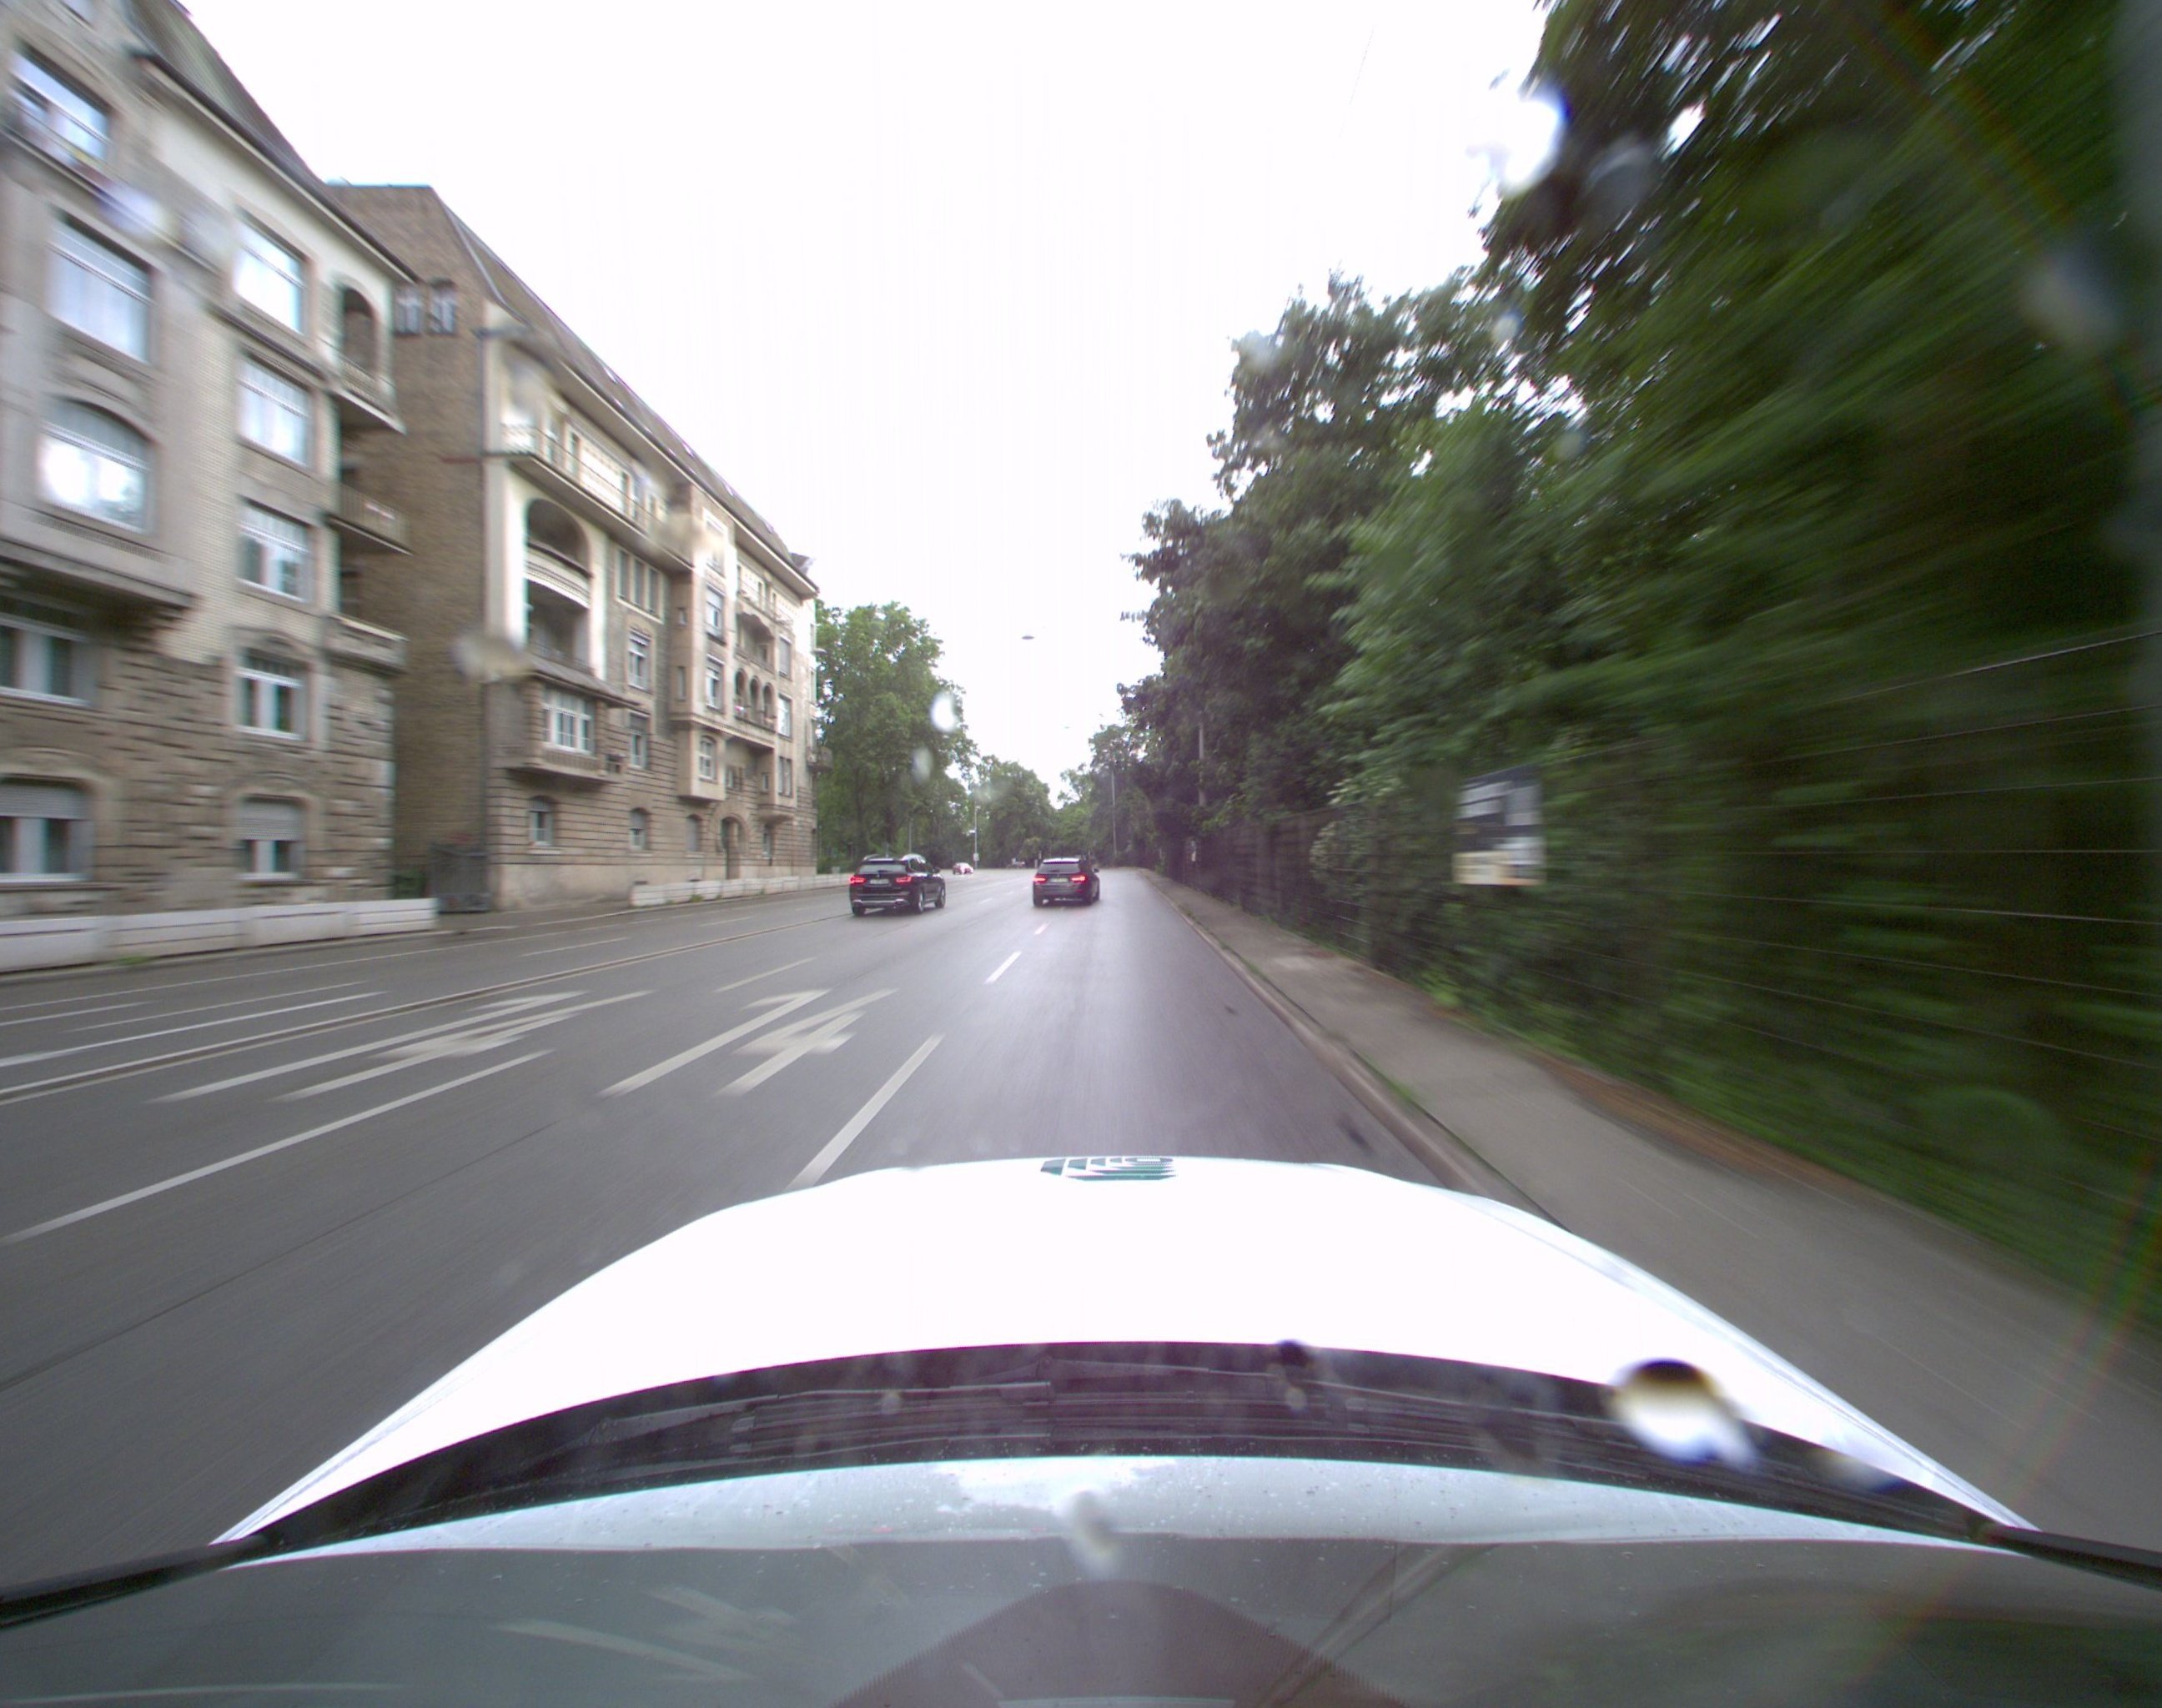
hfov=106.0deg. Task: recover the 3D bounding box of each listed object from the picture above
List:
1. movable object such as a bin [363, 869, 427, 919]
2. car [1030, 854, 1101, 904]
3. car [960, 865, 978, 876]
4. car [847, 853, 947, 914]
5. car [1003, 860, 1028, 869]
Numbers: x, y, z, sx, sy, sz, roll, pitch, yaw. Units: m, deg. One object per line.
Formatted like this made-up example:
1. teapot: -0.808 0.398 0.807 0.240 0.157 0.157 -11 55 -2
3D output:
1. movable object such as a bin: -21.309 1.221 25.321 1.021 1.434 1.023 -2 2 0
2. car: -0.403 0.755 26.201 1.749 1.432 4.419 -1 0 5
3. car: -14.404 2.105 104.814 1.573 1.414 3.964 -2 0 3
4. car: -5.165 0.785 23.458 1.751 1.586 4.413 0 0 1
5. car: -10.750 1.686 133.119 1.702 1.427 4.317 4 -4 -45
